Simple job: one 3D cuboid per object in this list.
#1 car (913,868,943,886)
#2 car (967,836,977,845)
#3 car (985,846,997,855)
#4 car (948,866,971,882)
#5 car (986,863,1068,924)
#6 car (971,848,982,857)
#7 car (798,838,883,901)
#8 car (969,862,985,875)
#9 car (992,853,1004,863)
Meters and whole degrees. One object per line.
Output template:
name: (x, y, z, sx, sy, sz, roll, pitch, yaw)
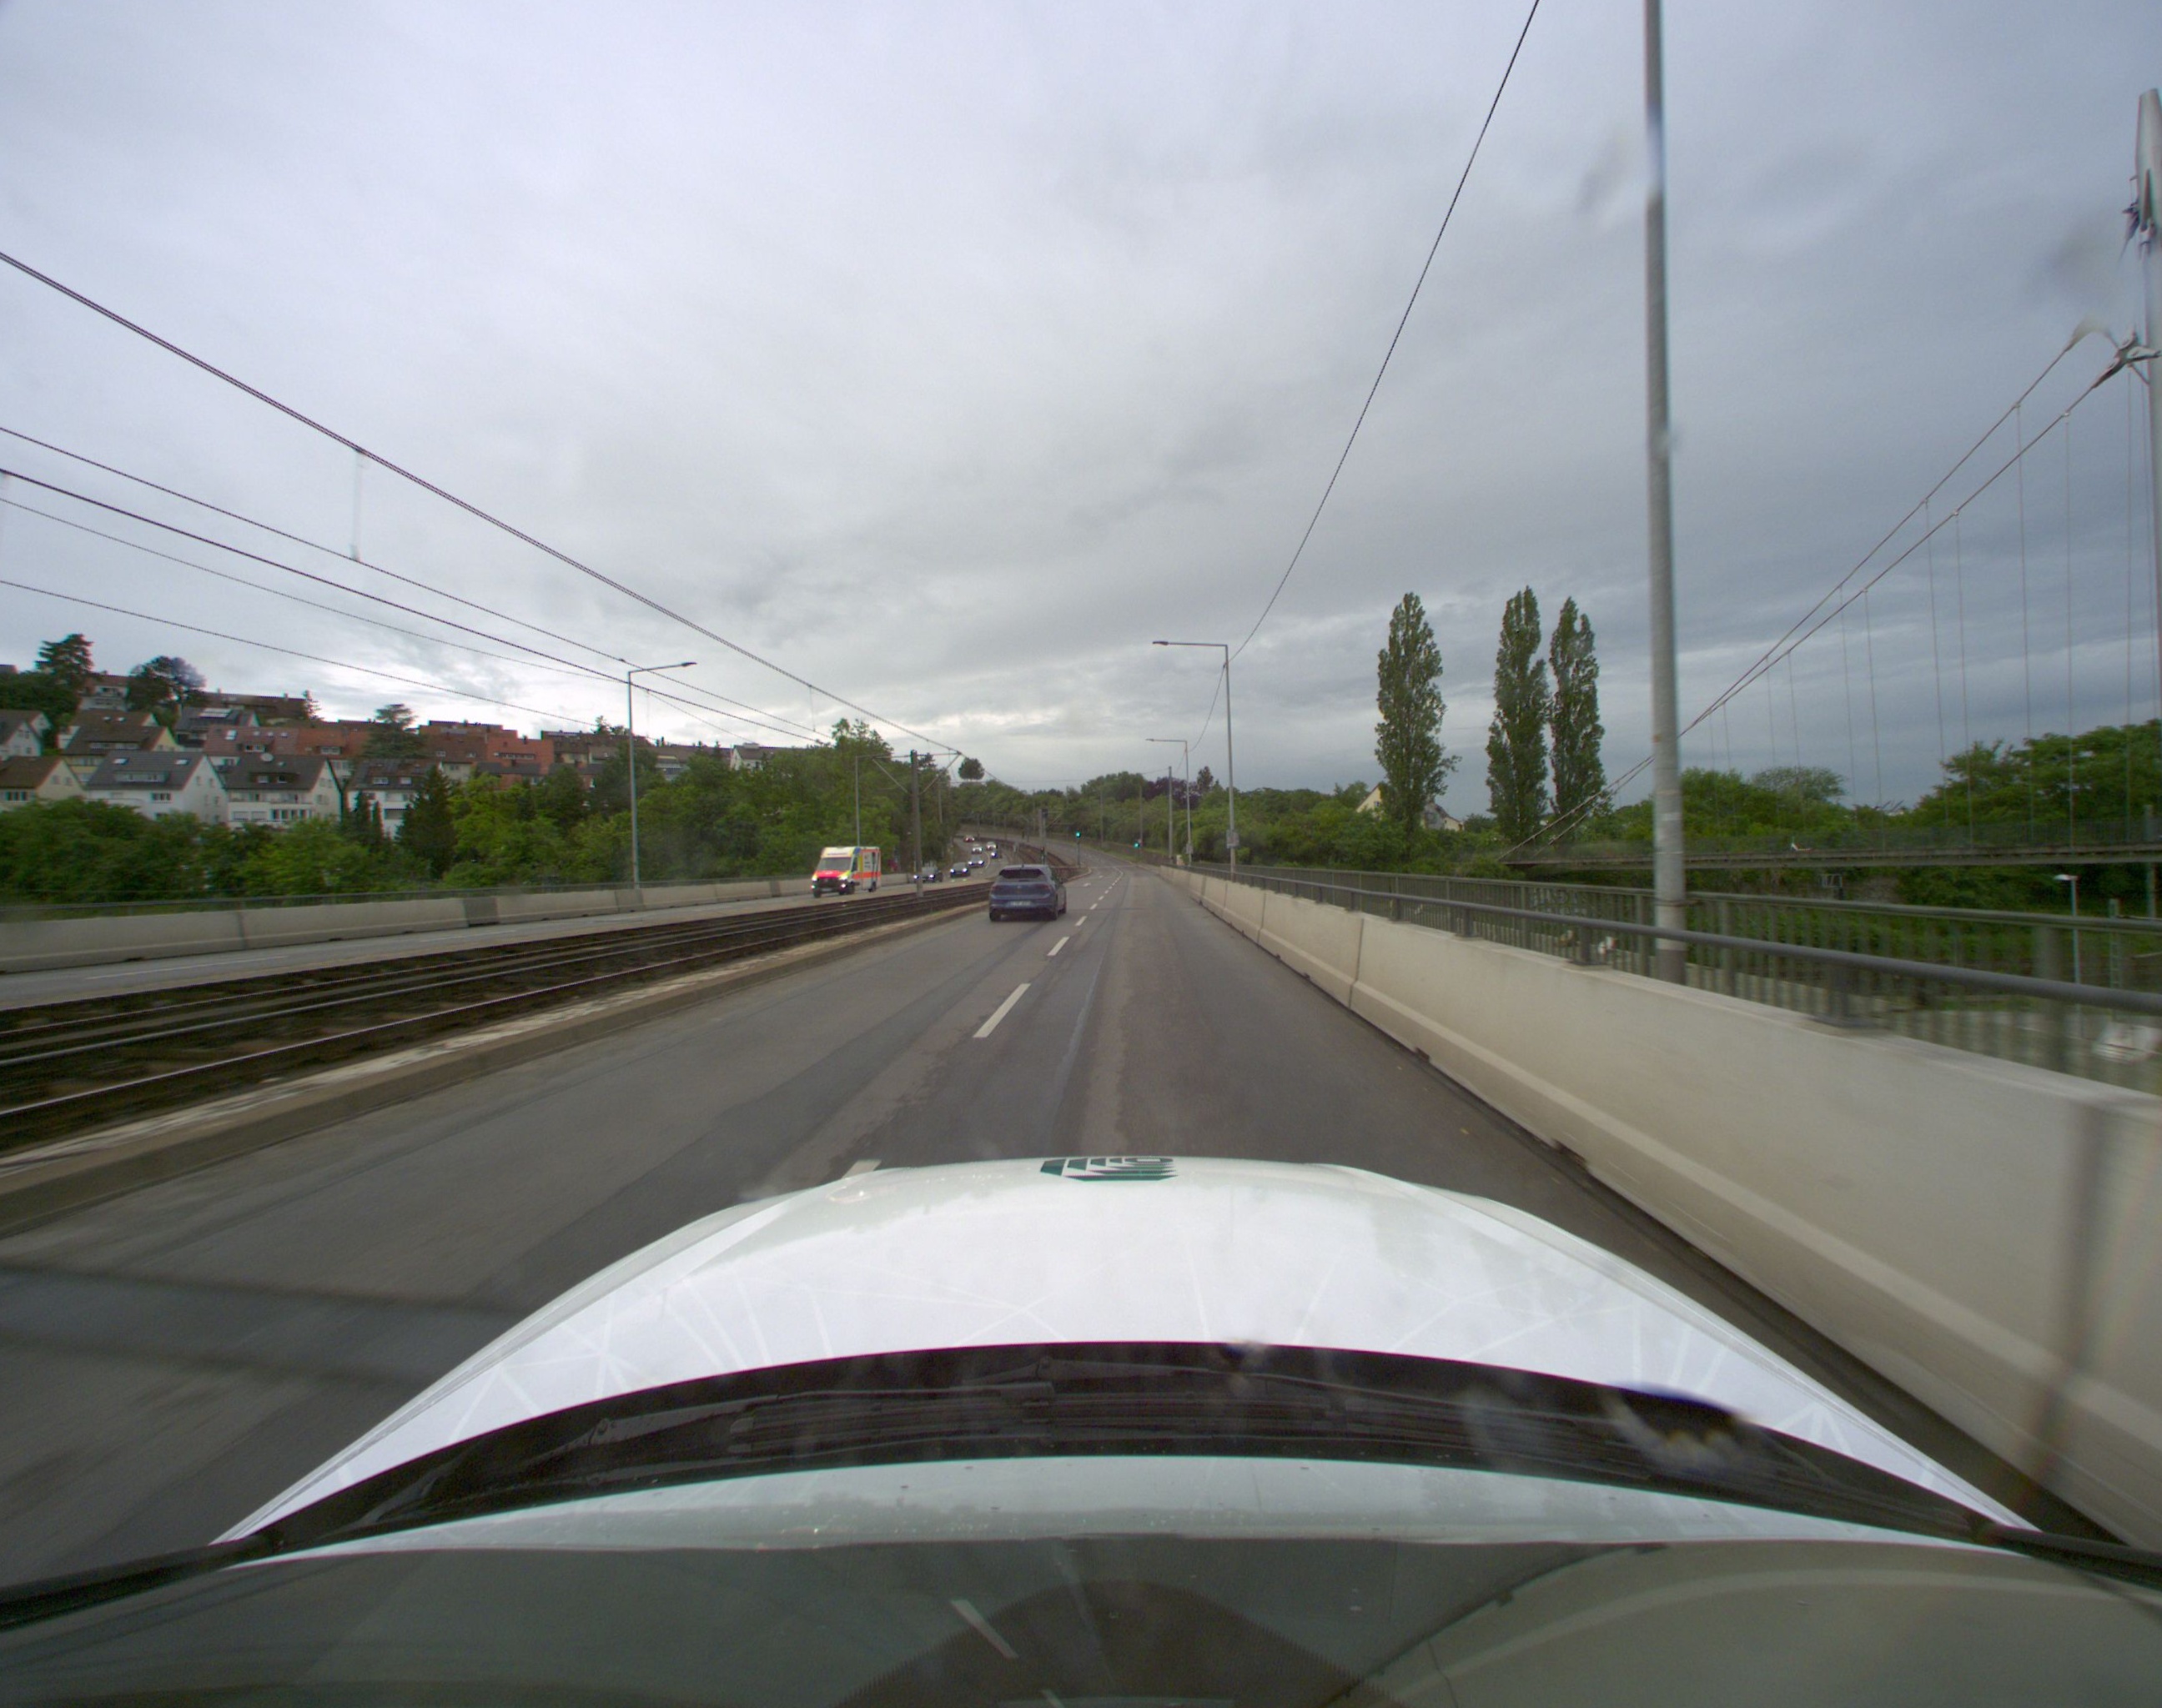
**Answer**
car: (-13.829, 2.025, 73.879, 1.810, 1.436, 4.740, -2, 0, 0)
car: (-25.305, -3.110, 188.386, 1.850, 1.596, 4.715, -4, 7, -12)
car: (-17.015, -0.675, 154.075, 1.732, 1.437, 4.471, -3, -1, -13)
car: (-13.810, 2.273, 92.824, 1.891, 1.597, 4.729, -3, 0, -2)
car: (-1.390, 1.017, 22.365, 1.756, 1.501, 4.003, -1, -1, 3)
car: (-18.795, -0.308, 146.237, 1.820, 1.515, 4.516, -2, -1, -8)
car: (-12.972, 0.829, 44.542, 2.379, 3.115, 6.362, -1, -1, 3)
car: (-14.459, 2.068, 112.872, 1.968, 1.597, 5.168, -3, -2, -9)
car: (-13.201, 0.592, 129.716, 1.601, 1.493, 3.007, -3, 1, -11)
